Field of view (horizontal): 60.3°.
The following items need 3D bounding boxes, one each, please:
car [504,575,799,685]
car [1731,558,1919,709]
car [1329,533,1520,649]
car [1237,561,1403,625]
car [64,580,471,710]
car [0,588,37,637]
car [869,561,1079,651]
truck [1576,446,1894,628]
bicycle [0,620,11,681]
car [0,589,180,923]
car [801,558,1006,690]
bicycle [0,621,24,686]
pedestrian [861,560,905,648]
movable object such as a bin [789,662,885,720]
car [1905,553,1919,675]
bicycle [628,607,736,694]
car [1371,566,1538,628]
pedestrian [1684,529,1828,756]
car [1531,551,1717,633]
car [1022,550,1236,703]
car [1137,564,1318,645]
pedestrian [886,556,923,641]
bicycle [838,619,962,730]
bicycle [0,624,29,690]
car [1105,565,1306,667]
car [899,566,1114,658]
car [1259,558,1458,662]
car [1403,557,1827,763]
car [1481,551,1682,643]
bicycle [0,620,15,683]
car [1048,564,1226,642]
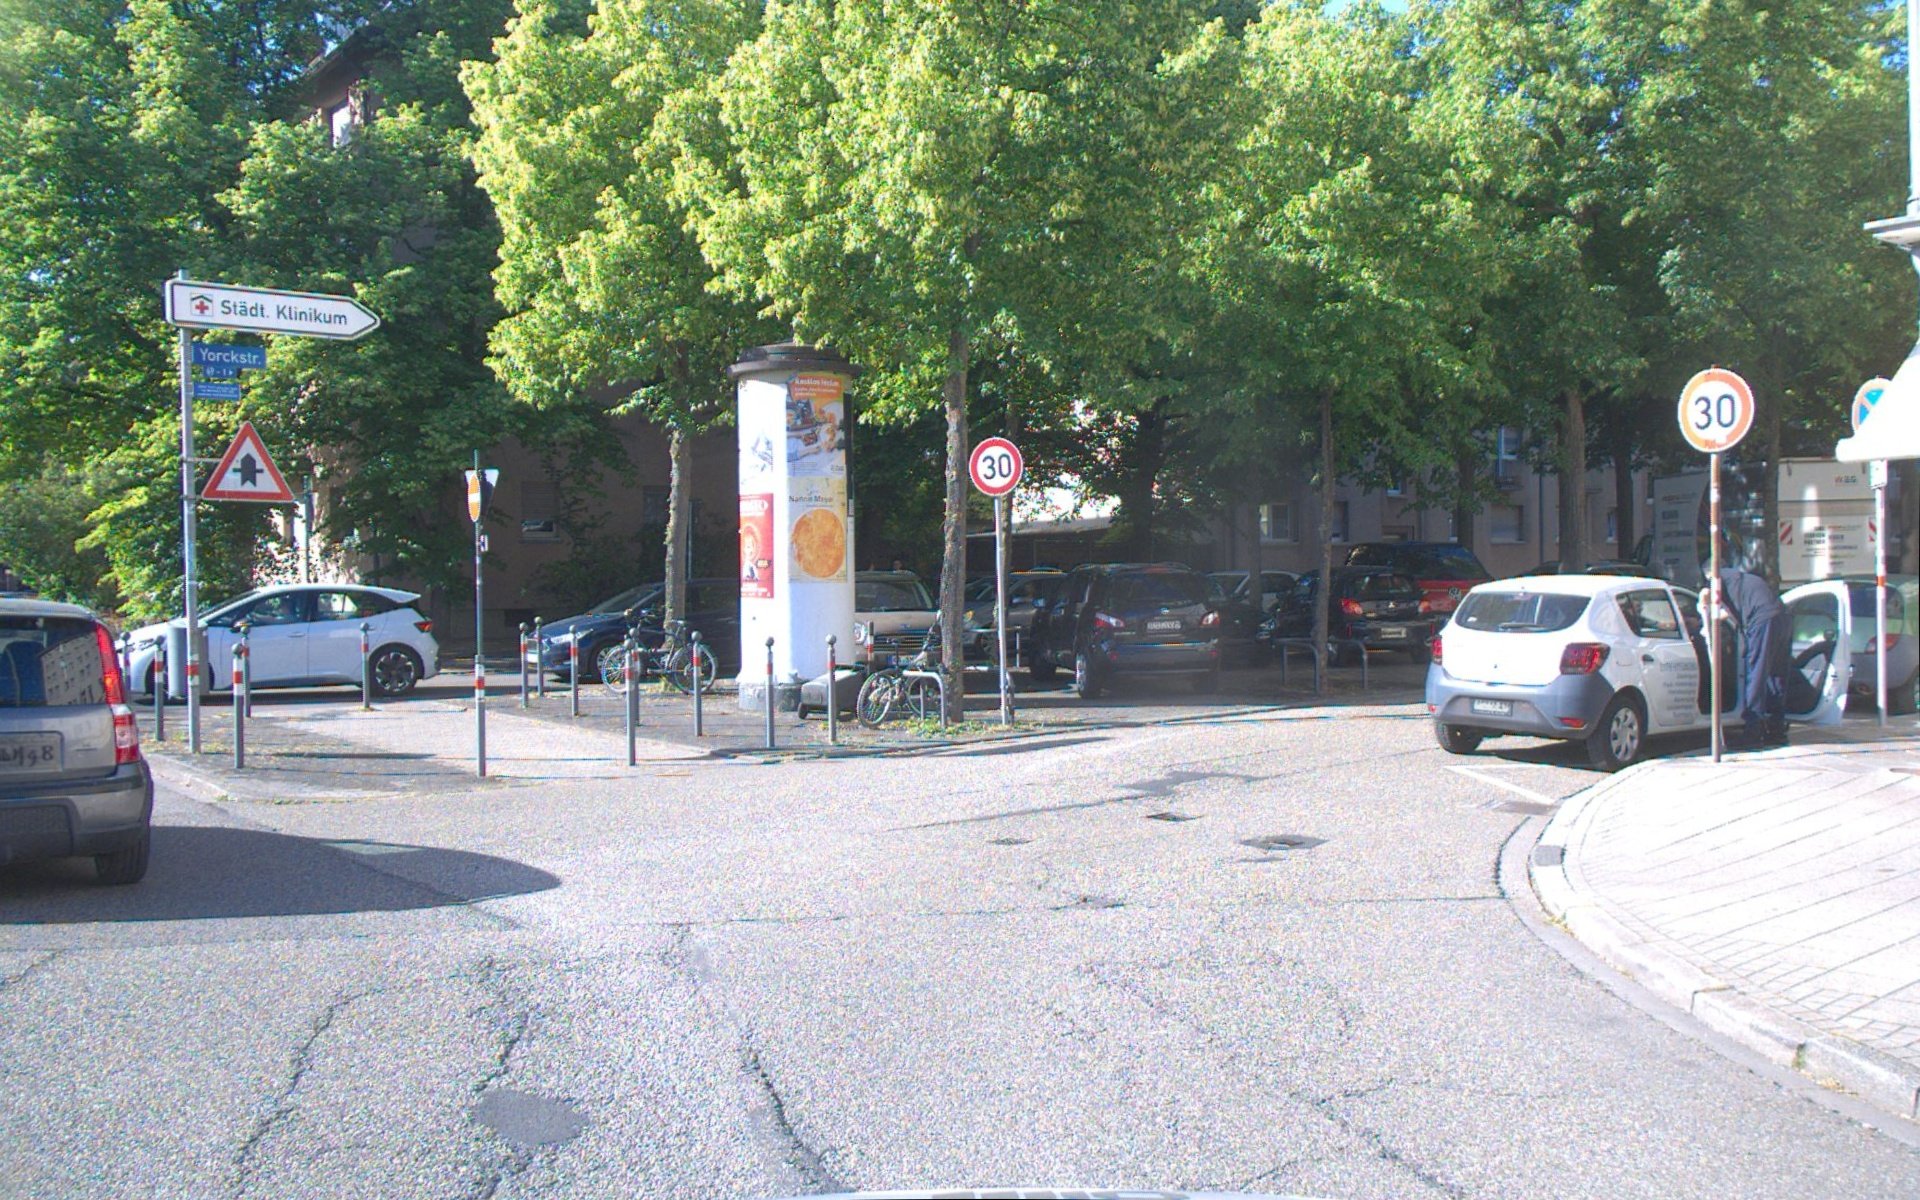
[{"bbox_3d":[-4.876,0.418,26.425,4.258,1.545,1.883,-2,1,-39],"label":"car"},{"bbox_3d":[10.225,0.296,18.343,3.635,1.489,1.580,-2,1,-38],"label":"car"},{"bbox_3d":[8.282,-0.195,29.918,1.892,1.906,4.499,-1,1,-4],"label":"car"},{"bbox_3d":[9.003,-0.203,41.178,4.300,1.460,1.745,-2,1,-39],"label":"car"},{"bbox_3d":[-9.571,0.546,23.018,4.973,1.545,1.902,-2,1,-33],"label":"car"},{"bbox_3d":[-30.868,0.431,51.570,3.549,1.507,1.603,-2,1,-33],"label":"car"},{"bbox_3d":[0.333,0.076,33.819,4.208,1.668,1.734,-2,1,-41],"label":"car"},{"bbox_3d":[15.860,-1.228,34.572,2.490,3.351,7.315,-1,1,-7],"label":"truck"},{"bbox_3d":[-17.205,0.906,27.882,0.440,1.049,2.022,-1,1,42],"label":"bicycle"},{"bbox_3d":[-5.628,0.762,9.219,1.605,1.589,3.212,-2,1,-39],"label":"car"},{"bbox_3d":[-0.891,0.289,23.199,1.886,1.638,3.981,-2,1,-17],"label":"car"},{"bbox_3d":[-16.542,0.922,27.068,0.561,1.049,2.022,-1,1,42],"label":"bicycle"},{"bbox_3d":[-1.576,0.073,33.940,0.535,1.766,0.731,-2,1,-42],"label":"pedestrian"},{"bbox_3d":[-1.398,1.033,18.916,0.565,0.575,1.111,-1,1,31],"label":"movable object such as a bin"},{"bbox_3d":[13.884,0.114,21.312,4.406,1.489,1.779,-2,1,-44],"label":"car"},{"bbox_3d":[-3.751,0.664,22.423,0.347,1.091,1.584,-1,1,40],"label":"bicycle"},{"bbox_3d":[11.654,-0.087,38.831,4.376,1.317,1.742,-2,-1,-42],"label":"car"},{"bbox_3d":[6.394,0.319,13.298,0.736,1.752,0.753,-2,1,-33],"label":"pedestrian"},{"bbox_3d":[13.445,-0.193,33.768,1.772,1.533,4.340,-1,1,-4],"label":"car"},{"bbox_3d":[2.106,0.250,21.851,1.797,1.700,4.330,-1,3,-8],"label":"car"},{"bbox_3d":[5.533,0.057,33.912,1.730,1.512,3.922,0,1,44],"label":"car"},{"bbox_3d":[-1.172,-0.035,34.809,0.725,1.766,0.539,-1,1,-6],"label":"pedestrian"},{"bbox_3d":[-0.632,0.782,17.851,0.347,1.091,1.584,-1,1,40],"label":"bicycle"},{"bbox_3d":[-16.123,0.952,26.497,0.561,1.049,2.022,-1,1,42],"label":"bicycle"},{"bbox_3d":[3.792,0.199,26.194,1.785,1.447,3.935,-1,1,-14],"label":"car"},{"bbox_3d":[0.906,0.169,30.180,1.730,1.512,3.922,0,1,44],"label":"car"},{"bbox_3d":[6.264,0.113,26.399,1.723,1.506,3.815,-1,1,-10],"label":"car"},{"bbox_3d":[5.838,0.427,14.564,3.982,1.523,1.701,-2,1,-38],"label":"car"},{"bbox_3d":[11.247,-0.091,30.257,1.772,1.533,4.340,-1,1,-4],"label":"car"},{"bbox_3d":[-16.911,0.904,27.484,0.460,1.049,2.022,-1,1,42],"label":"bicycle"},{"bbox_3d":[4.001,0.037,37.182,3.910,1.597,1.735,-2,1,-39],"label":"car"}]
